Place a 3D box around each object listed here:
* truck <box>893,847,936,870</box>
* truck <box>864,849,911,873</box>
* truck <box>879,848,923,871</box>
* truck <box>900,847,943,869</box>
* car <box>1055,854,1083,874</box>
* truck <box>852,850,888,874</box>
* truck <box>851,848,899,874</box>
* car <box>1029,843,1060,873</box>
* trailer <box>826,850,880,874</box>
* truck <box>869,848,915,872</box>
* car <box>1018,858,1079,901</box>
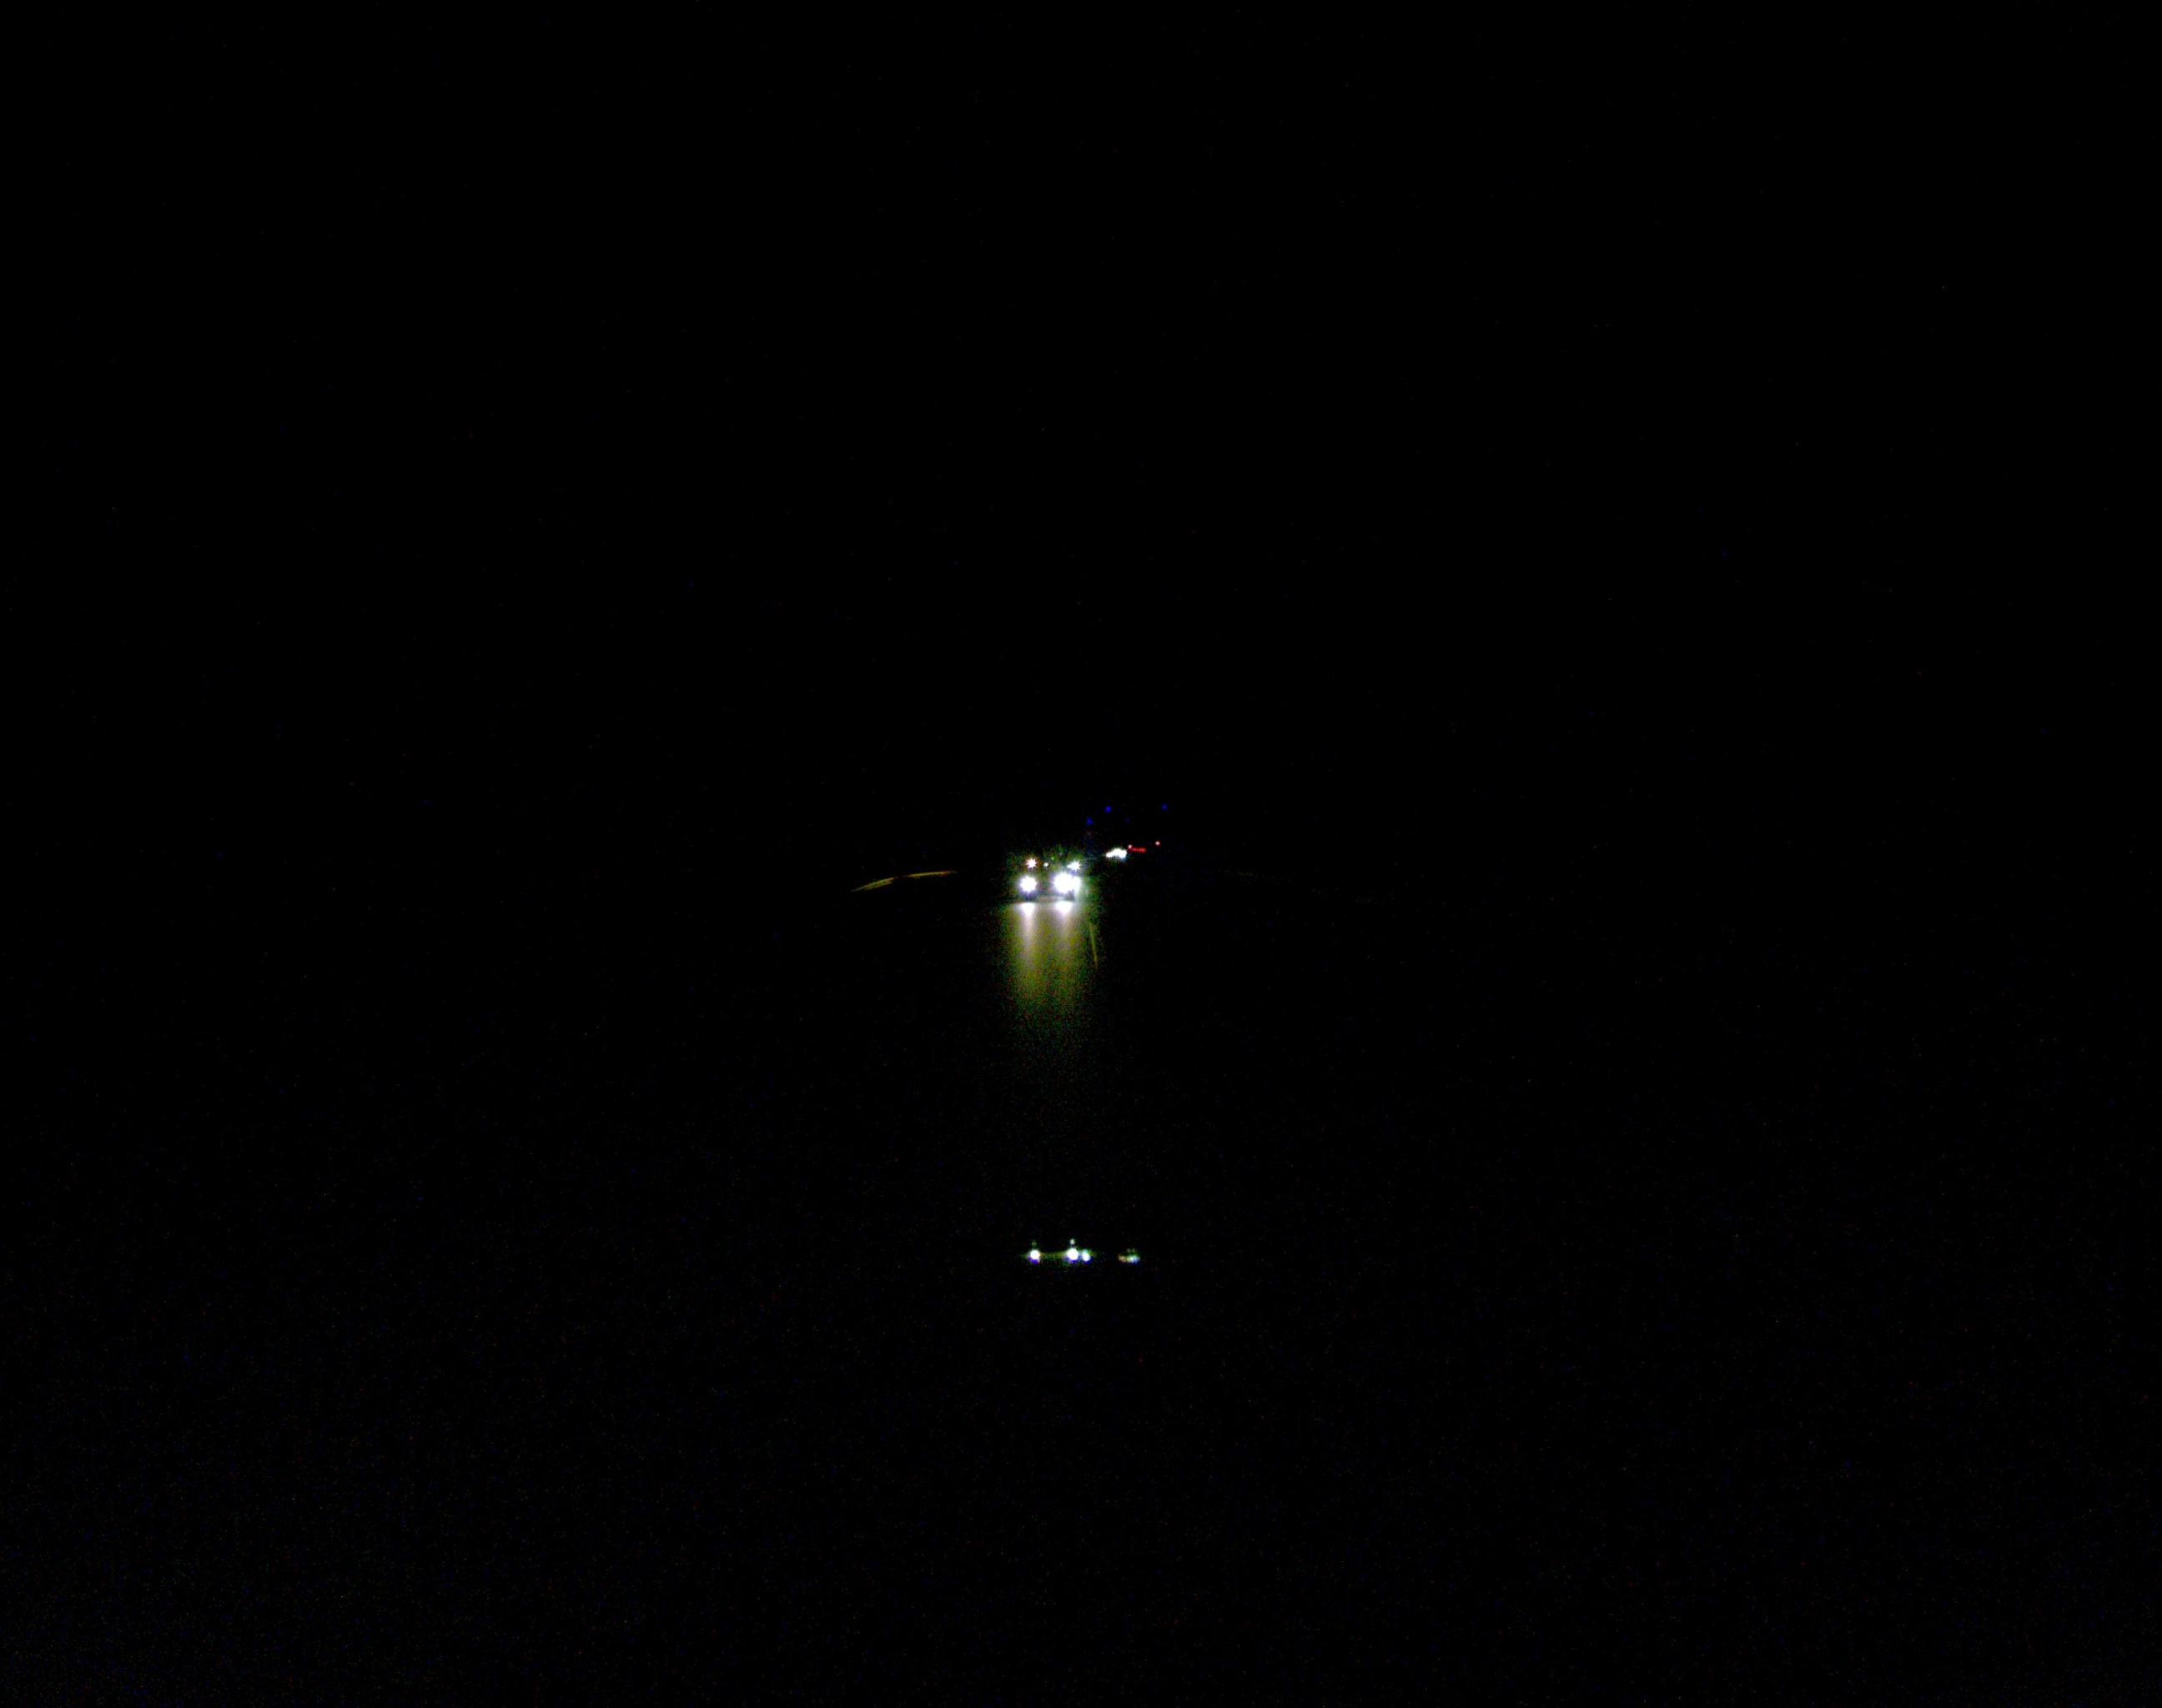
[{"bbox_3d":[-32.019,0.901,145.770,9.637,3.902,2.965,-2,1,44],"label":"truck"},{"bbox_3d":[-33.527,1.236,131.129,9.637,3.667,3.066,-2,1,44],"label":"truck"},{"bbox_3d":[-33.800,1.023,142.508,9.637,3.902,3.066,-2,1,44],"label":"truck"},{"bbox_3d":[-31.569,0.837,149.975,9.637,3.902,3.066,-2,1,44],"label":"truck"},{"bbox_3d":[-0.939,0.789,62.658,1.998,1.455,4.001,-2,0,3],"label":"car"},{"bbox_3d":[-33.311,1.264,119.806,2.537,3.628,6.193,-4,1,-44],"label":"truck"},{"bbox_3d":[-34.351,1.206,126.362,9.637,3.902,3.066,-2,1,44],"label":"truck"},{"bbox_3d":[-3.748,0.359,79.295,2.533,2.888,6.228,-2,0,3],"label":"car"},{"bbox_3d":[-37.325,1.387,123.988,2.547,3.643,12.962,-4,1,-44],"label":"trailer"},{"bbox_3d":[-34.172,1.095,137.024,9.637,3.902,3.066,-2,1,44],"label":"truck"},{"bbox_3d":[-1.142,0.886,28.555,1.832,1.404,4.001,-2,0,3],"label":"car"}]
